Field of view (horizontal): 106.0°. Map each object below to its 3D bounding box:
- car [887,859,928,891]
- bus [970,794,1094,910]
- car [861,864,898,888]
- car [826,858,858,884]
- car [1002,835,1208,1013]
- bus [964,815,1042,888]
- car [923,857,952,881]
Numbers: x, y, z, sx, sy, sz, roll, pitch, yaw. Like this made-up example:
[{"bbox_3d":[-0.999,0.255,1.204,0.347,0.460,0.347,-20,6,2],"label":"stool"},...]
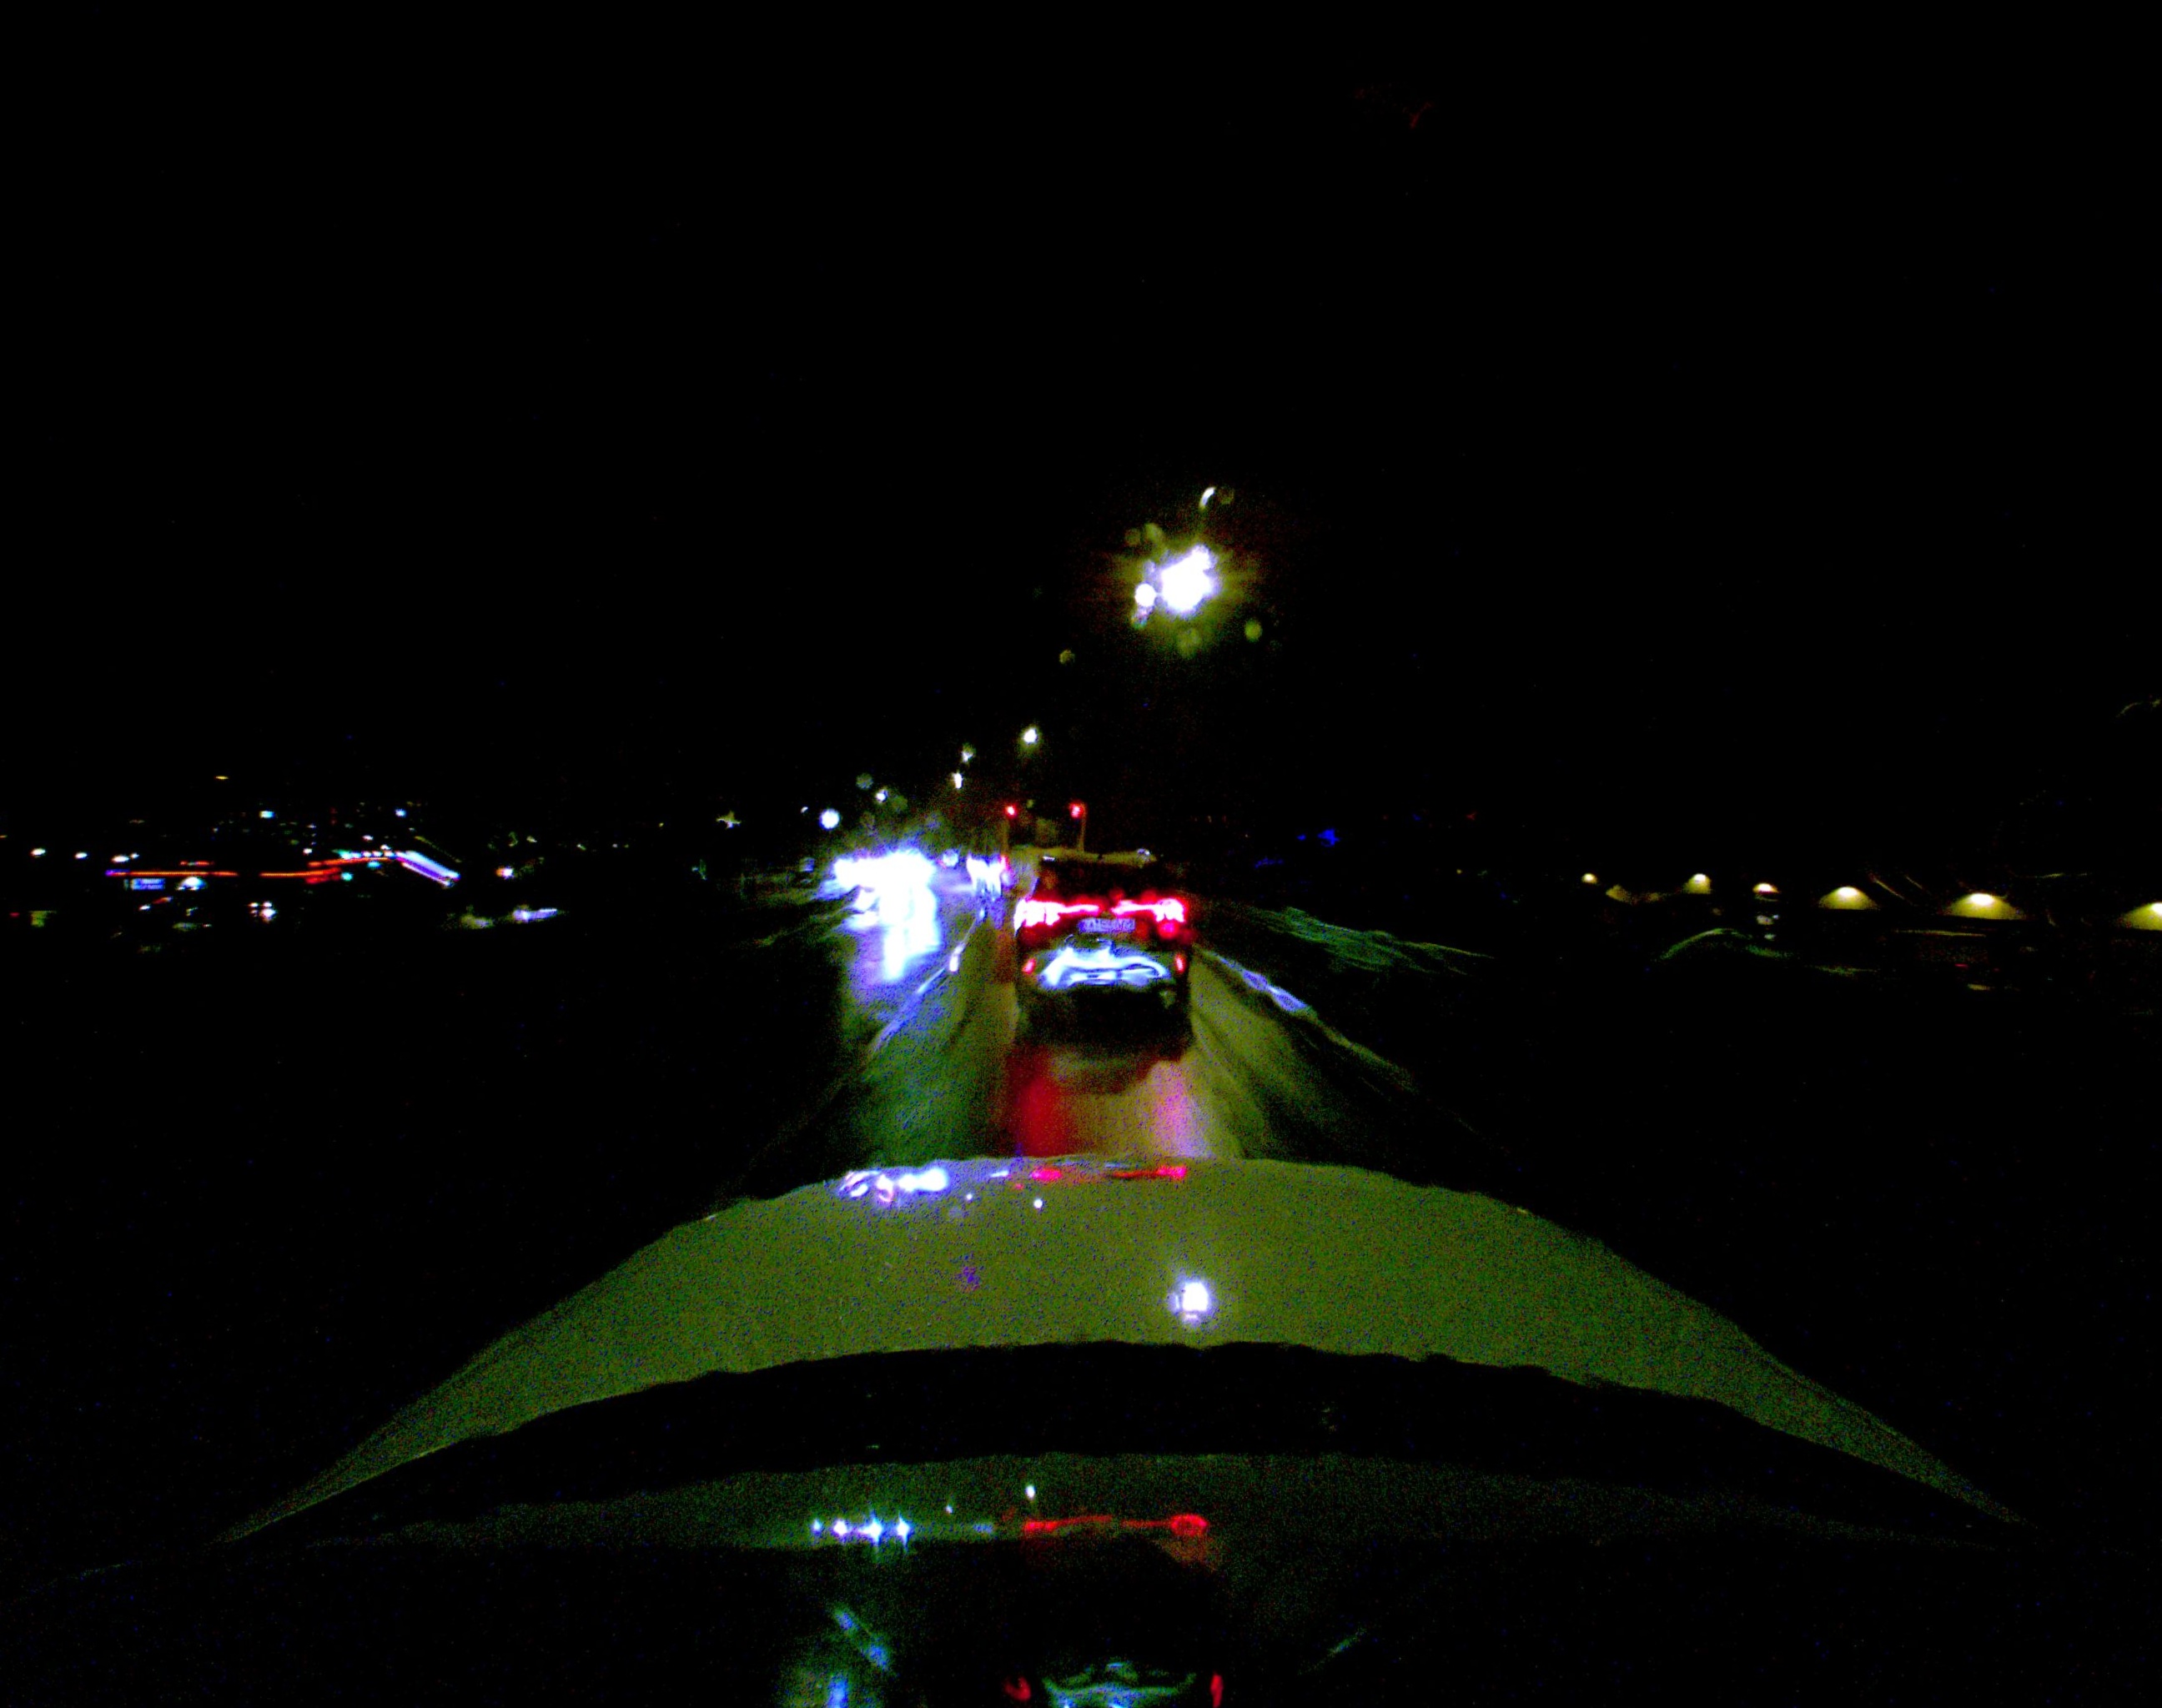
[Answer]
[{"bbox_3d":[-9.999,1.162,46.855,1.784,1.704,4.286,-2,0,-19],"label":"car"},{"bbox_3d":[-2.209,-0.054,28.978,3.083,3.132,12.656,-2,0,-9],"label":"bus"},{"bbox_3d":[-14.870,1.594,59.979,1.802,1.630,3.958,0,-1,-26],"label":"car"},{"bbox_3d":[-21.320,1.498,72.562,2.054,2.170,5.112,-1,0,-24],"label":"car"},{"bbox_3d":[0.203,0.648,9.425,1.850,1.586,3.998,-1,-1,-1],"label":"car"},{"bbox_3d":[-3.922,-0.116,39.265,3.049,3.132,8.049,-1,0,-10],"label":"bus"},{"bbox_3d":[-11.089,1.166,62.631,1.641,1.656,3.686,-2,-2,-18],"label":"car"}]
